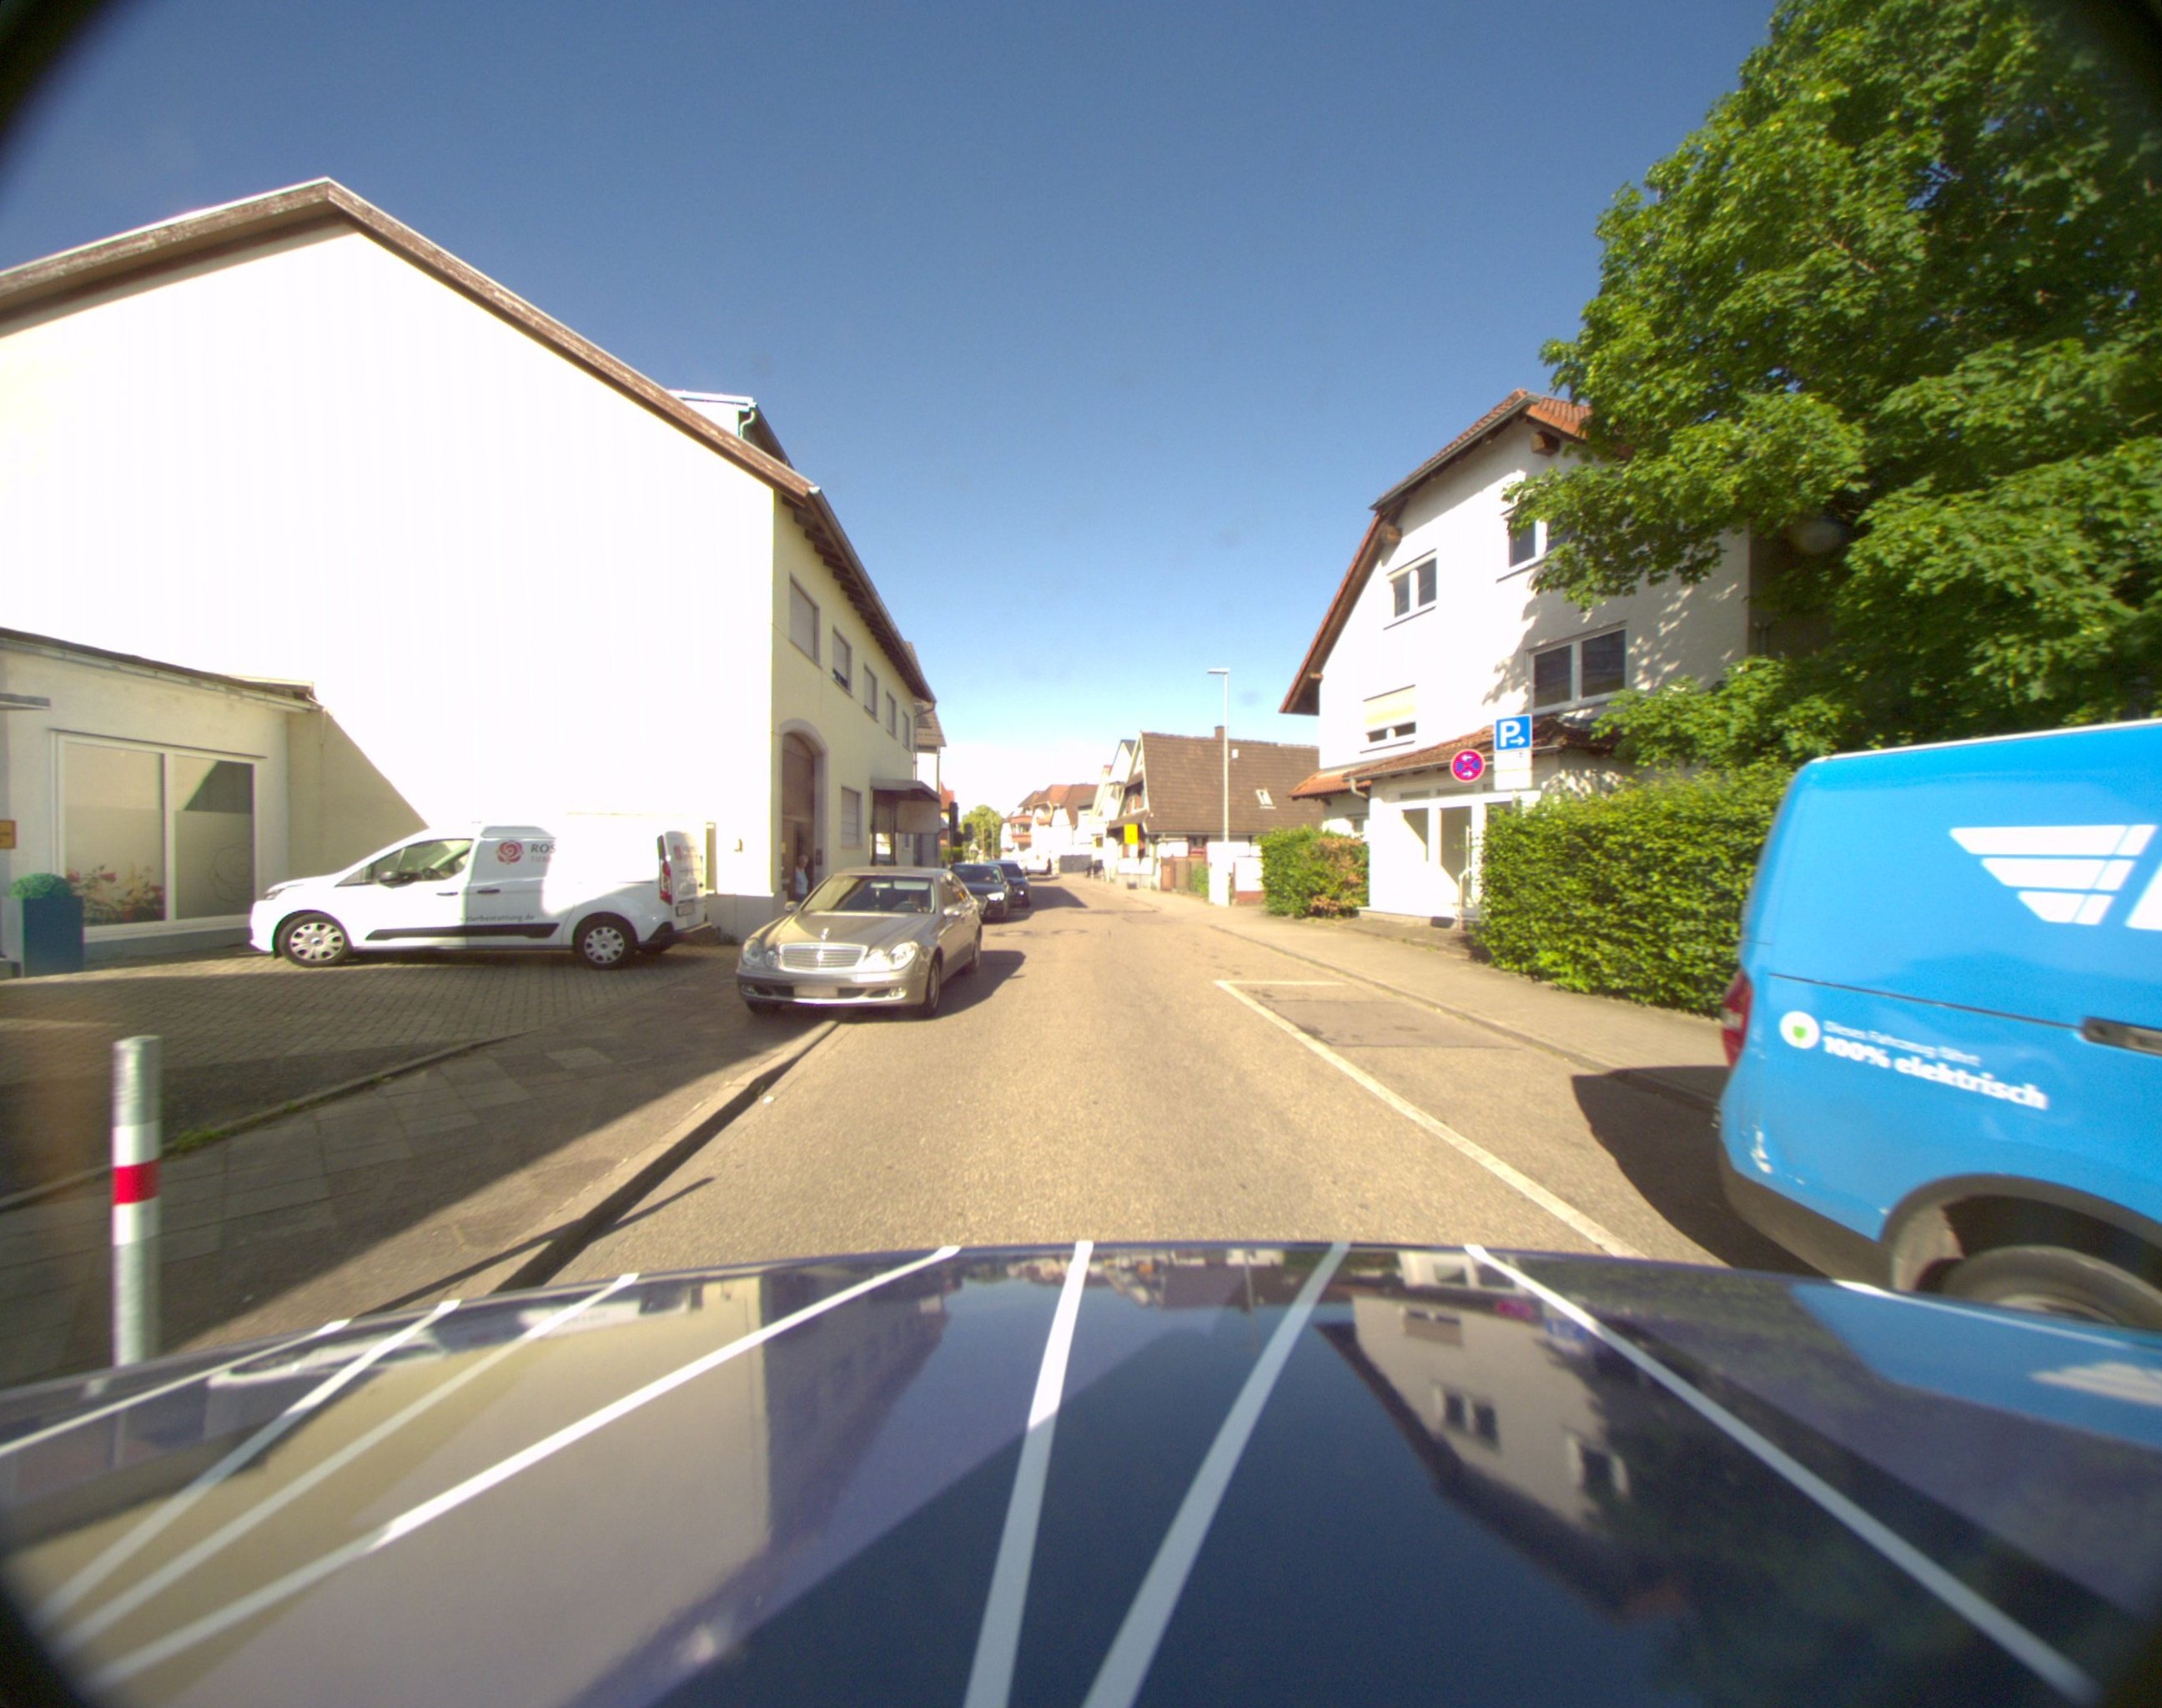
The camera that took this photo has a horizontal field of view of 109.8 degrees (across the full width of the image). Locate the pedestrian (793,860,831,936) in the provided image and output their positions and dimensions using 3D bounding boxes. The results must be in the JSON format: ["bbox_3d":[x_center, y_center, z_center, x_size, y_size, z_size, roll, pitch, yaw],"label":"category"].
[{"bbox_3d":[-5.602,0.898,15.853,0.566,1.543,0.770,-1,1,-8],"label":"pedestrian"}]

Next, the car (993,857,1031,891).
[{"bbox_3d":[-3.312,0.929,36.885,1.730,1.467,3.873,-1,0,-4],"label":"car"}]

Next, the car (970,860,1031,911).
[{"bbox_3d":[-2.662,0.982,25.834,1.813,1.467,4.842,-1,0,-4],"label":"car"}]

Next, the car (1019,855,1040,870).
[{"bbox_3d":[-5.607,0.887,82.390,1.728,1.609,4.107,0,0,-12],"label":"car"}]

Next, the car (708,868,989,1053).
[{"bbox_3d":[-2.274,0.959,8.831,1.816,1.466,4.659,1,0,0],"label":"car"}]

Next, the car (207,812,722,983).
[{"bbox_3d":[-7.512,0.561,9.837,4.779,1.875,1.906,2,0,-11],"label":"car"}]

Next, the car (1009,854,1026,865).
[{"bbox_3d":[-8.358,0.712,99.572,1.624,1.431,3.951,0,0,-12],"label":"car"}]

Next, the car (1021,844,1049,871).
[{"bbox_3d":[-4.453,0.305,72.877,2.260,2.456,5.511,0,0,-8],"label":"car"}]

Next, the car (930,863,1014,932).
[{"bbox_3d":[-2.703,1.014,19.821,1.813,1.467,4.842,-1,0,-4],"label":"car"}]

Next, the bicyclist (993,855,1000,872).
[{"bbox_3d":[-8.088,0.924,73.052,0.644,1.655,0.604,0,0,-7],"label":"bicyclist"}]

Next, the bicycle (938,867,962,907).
[{"bbox_3d":[-4.031,1.008,23.420,0.509,1.151,1.507,2,0,-3],"label":"bicycle"}]

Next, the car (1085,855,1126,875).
[{"bbox_3d":[1.876,0.831,60.109,1.696,1.437,4.168,-1,1,-22],"label":"car"}]

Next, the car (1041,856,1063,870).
[{"bbox_3d":[-3.307,1.002,86.645,1.648,1.577,4.106,0,0,-15],"label":"car"}]

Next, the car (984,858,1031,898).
[{"bbox_3d":[-3.034,0.946,31.823,1.813,1.467,4.442,-1,0,-4],"label":"car"}]

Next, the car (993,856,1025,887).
[{"bbox_3d":[-3.897,0.901,41.363,1.615,1.512,3.969,-1,0,-5],"label":"car"}]
